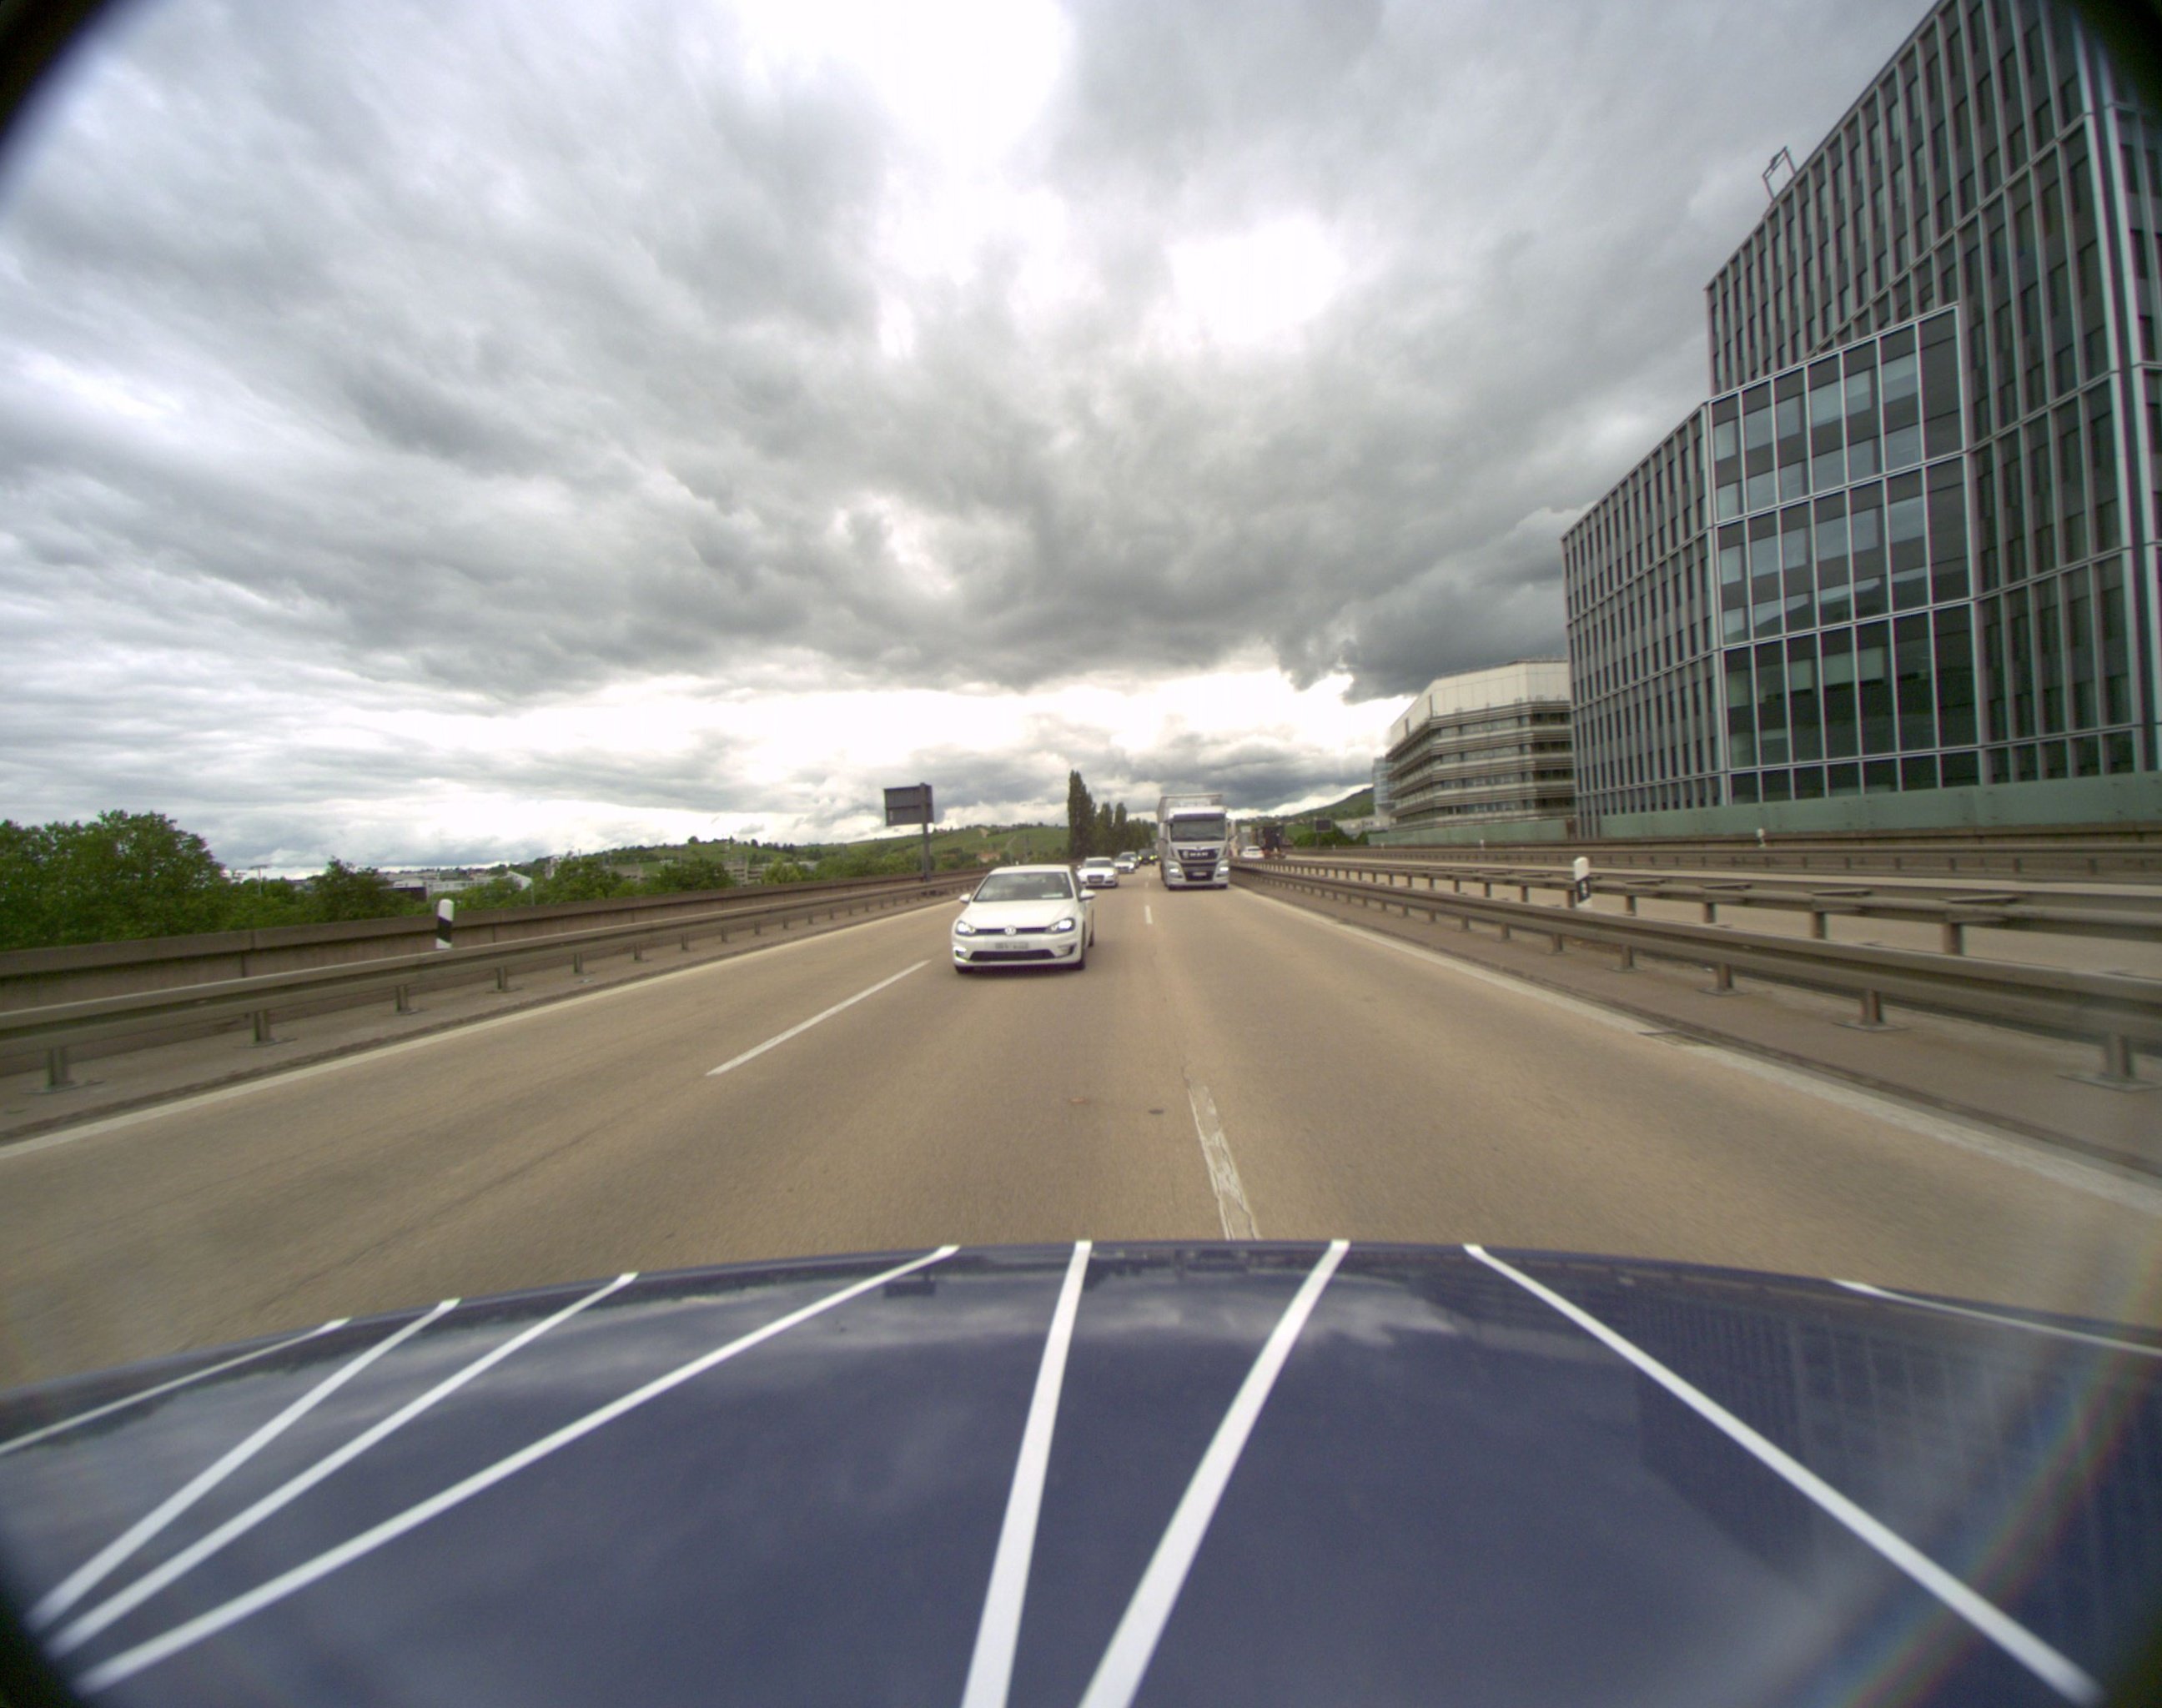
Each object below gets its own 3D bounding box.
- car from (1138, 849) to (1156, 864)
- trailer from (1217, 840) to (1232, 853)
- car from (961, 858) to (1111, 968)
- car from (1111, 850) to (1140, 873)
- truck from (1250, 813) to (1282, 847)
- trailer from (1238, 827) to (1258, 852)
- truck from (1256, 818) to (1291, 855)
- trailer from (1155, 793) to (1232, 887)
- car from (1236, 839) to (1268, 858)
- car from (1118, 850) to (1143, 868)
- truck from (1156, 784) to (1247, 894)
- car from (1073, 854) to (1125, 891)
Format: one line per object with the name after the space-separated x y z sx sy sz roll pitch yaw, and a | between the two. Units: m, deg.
7.931 0.254 91.211 1.929 1.585 4.063 -3 1 7 | car
23.030 -1.181 122.036 1.997 2.002 4.001 -2 1 6 | trailer
-0.603 0.899 13.405 1.930 1.499 4.062 -2 1 6 | car
3.561 0.590 59.811 1.930 1.585 4.063 -3 1 7 | car
24.278 -3.119 100.048 3.062 4.042 11.863 -2 1 9 | truck
29.057 -2.556 132.612 2.850 3.965 11.889 -2 2 10 | trailer
22.634 -2.057 89.759 3.062 4.042 8.668 -2 1 9 | truck
5.603 -0.707 39.840 3.188 4.003 11.768 -4 0 6 | trailer
15.725 -0.539 70.049 1.998 1.597 4.807 -2 1 3 | car
5.003 0.463 75.900 1.929 1.585 4.064 -3 1 11 | car
4.919 -0.616 32.051 3.141 4.014 5.689 -4 1 5 | truck
0.910 0.828 35.724 1.929 1.499 4.063 -3 1 7 | car
